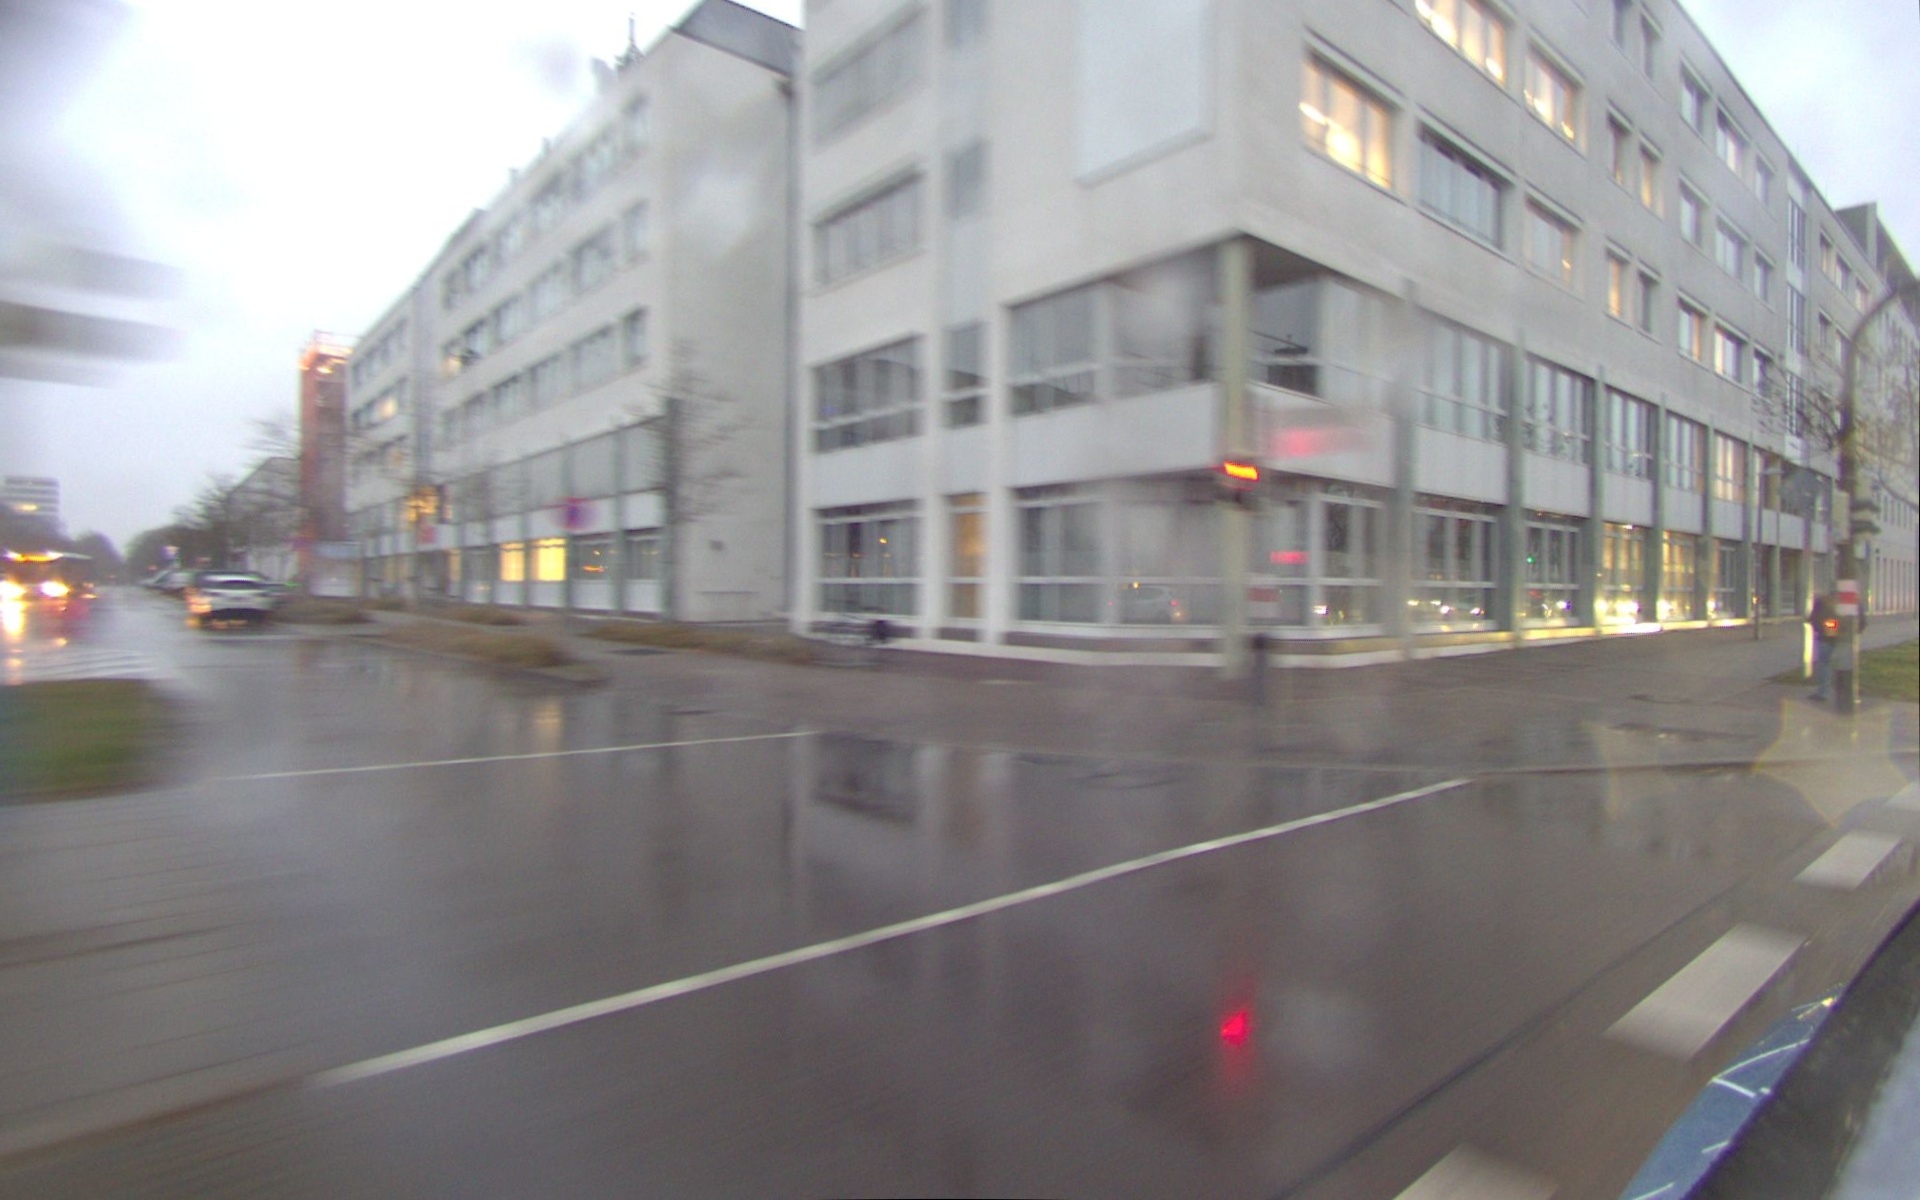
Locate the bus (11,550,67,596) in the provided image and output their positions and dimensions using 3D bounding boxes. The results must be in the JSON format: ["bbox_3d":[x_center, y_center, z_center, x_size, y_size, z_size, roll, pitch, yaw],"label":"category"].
[{"bbox_3d":[-60.966,-1.733,67.124,2.256,2.746,8.137,-2,0,-39],"label":"bus"}]

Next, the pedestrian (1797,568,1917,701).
[{"bbox_3d":[12.595,0.470,14.230,0.843,1.771,0.800,2,3,-13],"label":"pedestrian"}]

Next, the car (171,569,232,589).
[{"bbox_3d":[-59.851,-1.657,79.930,3.796,1.472,1.670,-2,0,-38],"label":"car"}]

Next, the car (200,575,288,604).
[{"bbox_3d":[-41.690,-0.628,58.987,4.051,1.548,1.604,-2,0,-40],"label":"car"}]

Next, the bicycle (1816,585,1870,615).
[{"bbox_3d":[39.764,-0.005,45.577,2.406,1.288,0.827,1,4,-24],"label":"bicycle"}]

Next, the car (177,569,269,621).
[{"bbox_3d":[-25.150,-0.173,34.509,3.267,1.657,1.969,-1,0,43],"label":"car"}]

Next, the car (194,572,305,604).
[{"bbox_3d":[-37.608,-0.642,53.633,4.726,1.575,1.771,-2,0,-38],"label":"car"}]

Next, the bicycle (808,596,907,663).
[{"bbox_3d":[-1.827,0.503,18.237,1.842,1.118,0.471,-1,1,-41],"label":"bicycle"}]

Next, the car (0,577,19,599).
[{"bbox_3d":[-68.068,-0.781,70.167,3.925,1.498,1.835,-2,0,-35],"label":"car"}]
